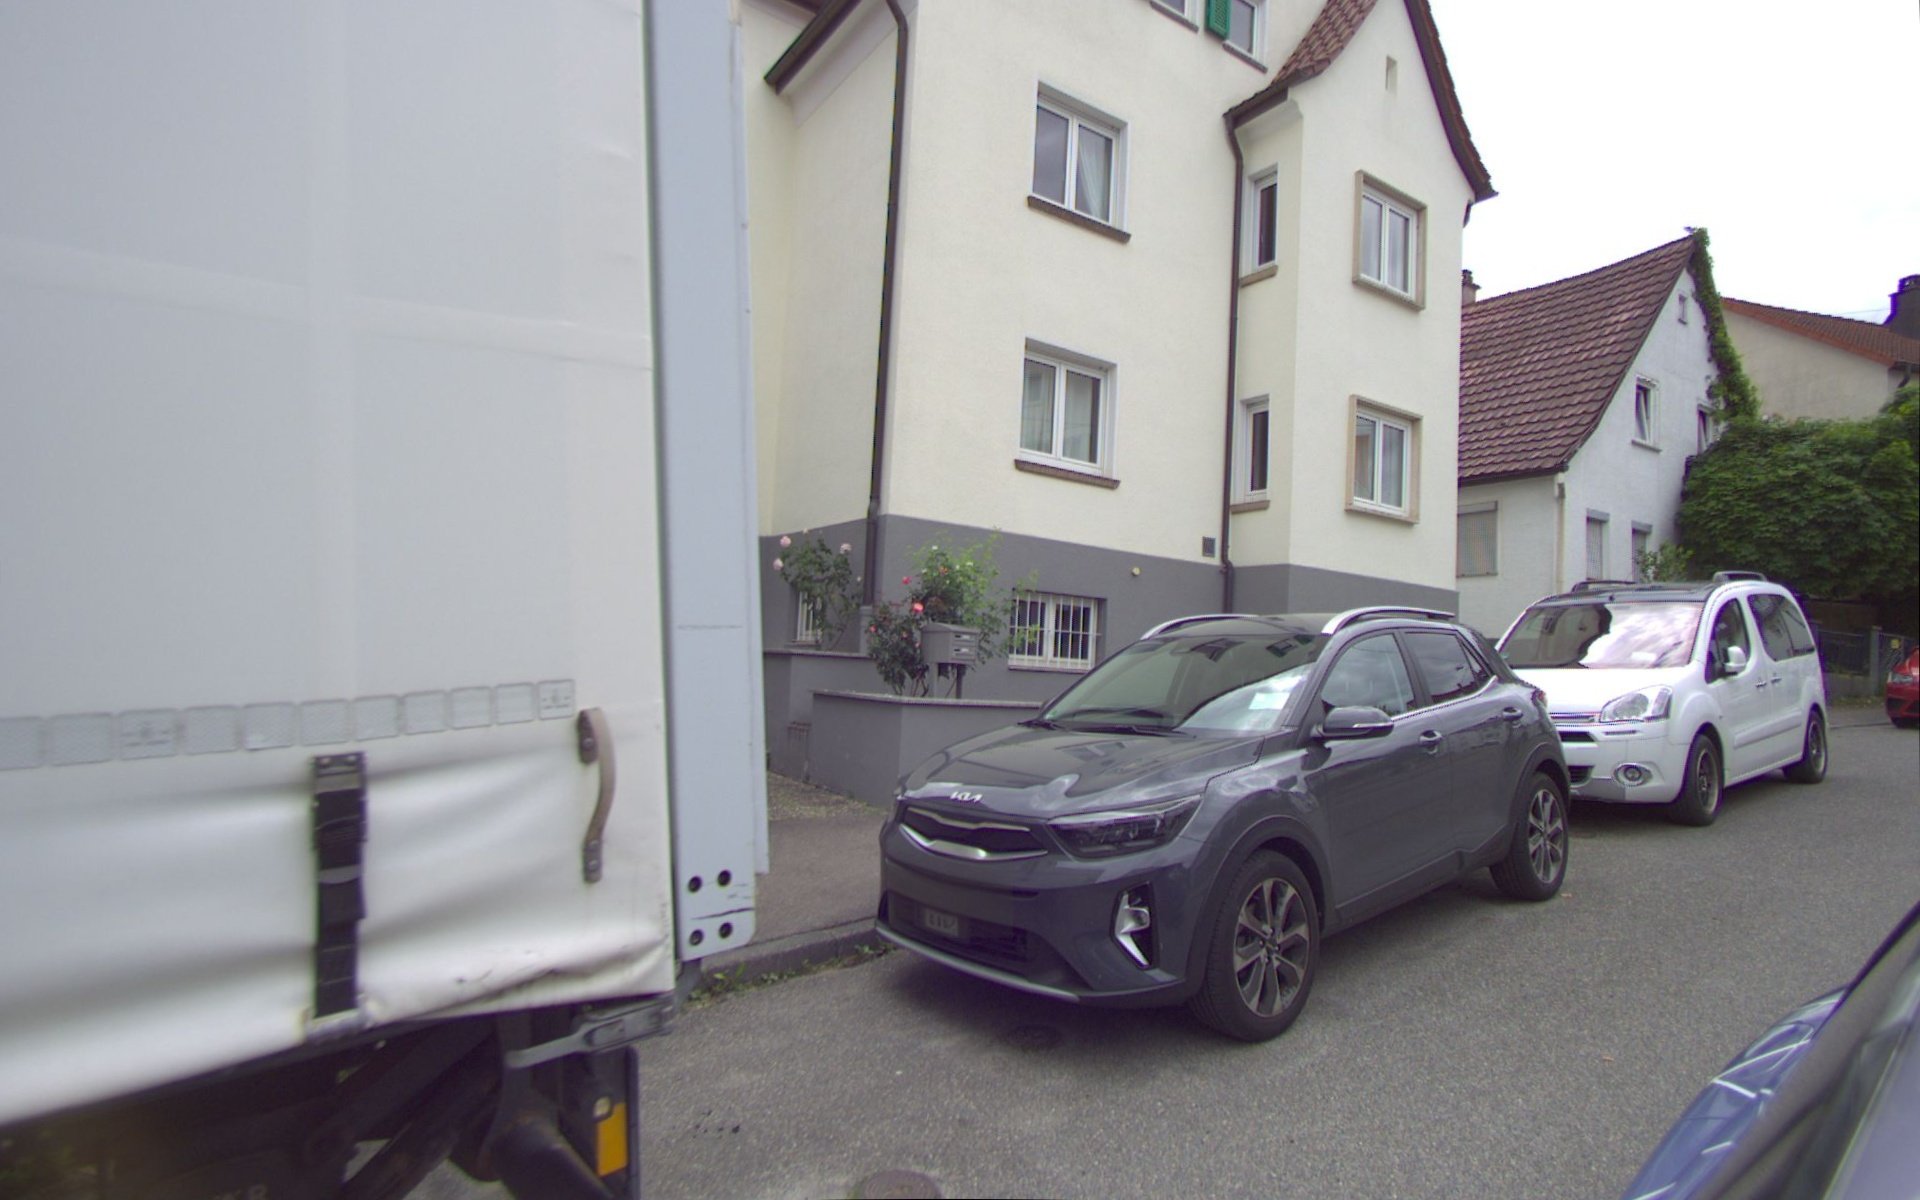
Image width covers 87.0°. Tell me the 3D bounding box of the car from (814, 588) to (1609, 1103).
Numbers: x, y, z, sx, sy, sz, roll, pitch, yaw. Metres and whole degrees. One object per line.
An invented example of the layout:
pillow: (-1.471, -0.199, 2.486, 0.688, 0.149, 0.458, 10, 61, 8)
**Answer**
car: (1.464, 0.756, 4.980, 3.979, 1.526, 1.735, -1, -3, -40)

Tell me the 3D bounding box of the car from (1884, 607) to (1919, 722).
car: (14.172, 0.784, 13.377, 3.774, 1.471, 1.685, 0, -3, -29)

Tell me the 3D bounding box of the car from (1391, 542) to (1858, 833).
car: (5.647, 0.605, 8.434, 4.223, 1.838, 1.839, 0, -3, -37)

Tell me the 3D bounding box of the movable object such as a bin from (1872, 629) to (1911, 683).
movable object such as a bin: (16.932, 1.010, 18.397, 0.366, 0.962, 0.373, 0, -2, -16)
